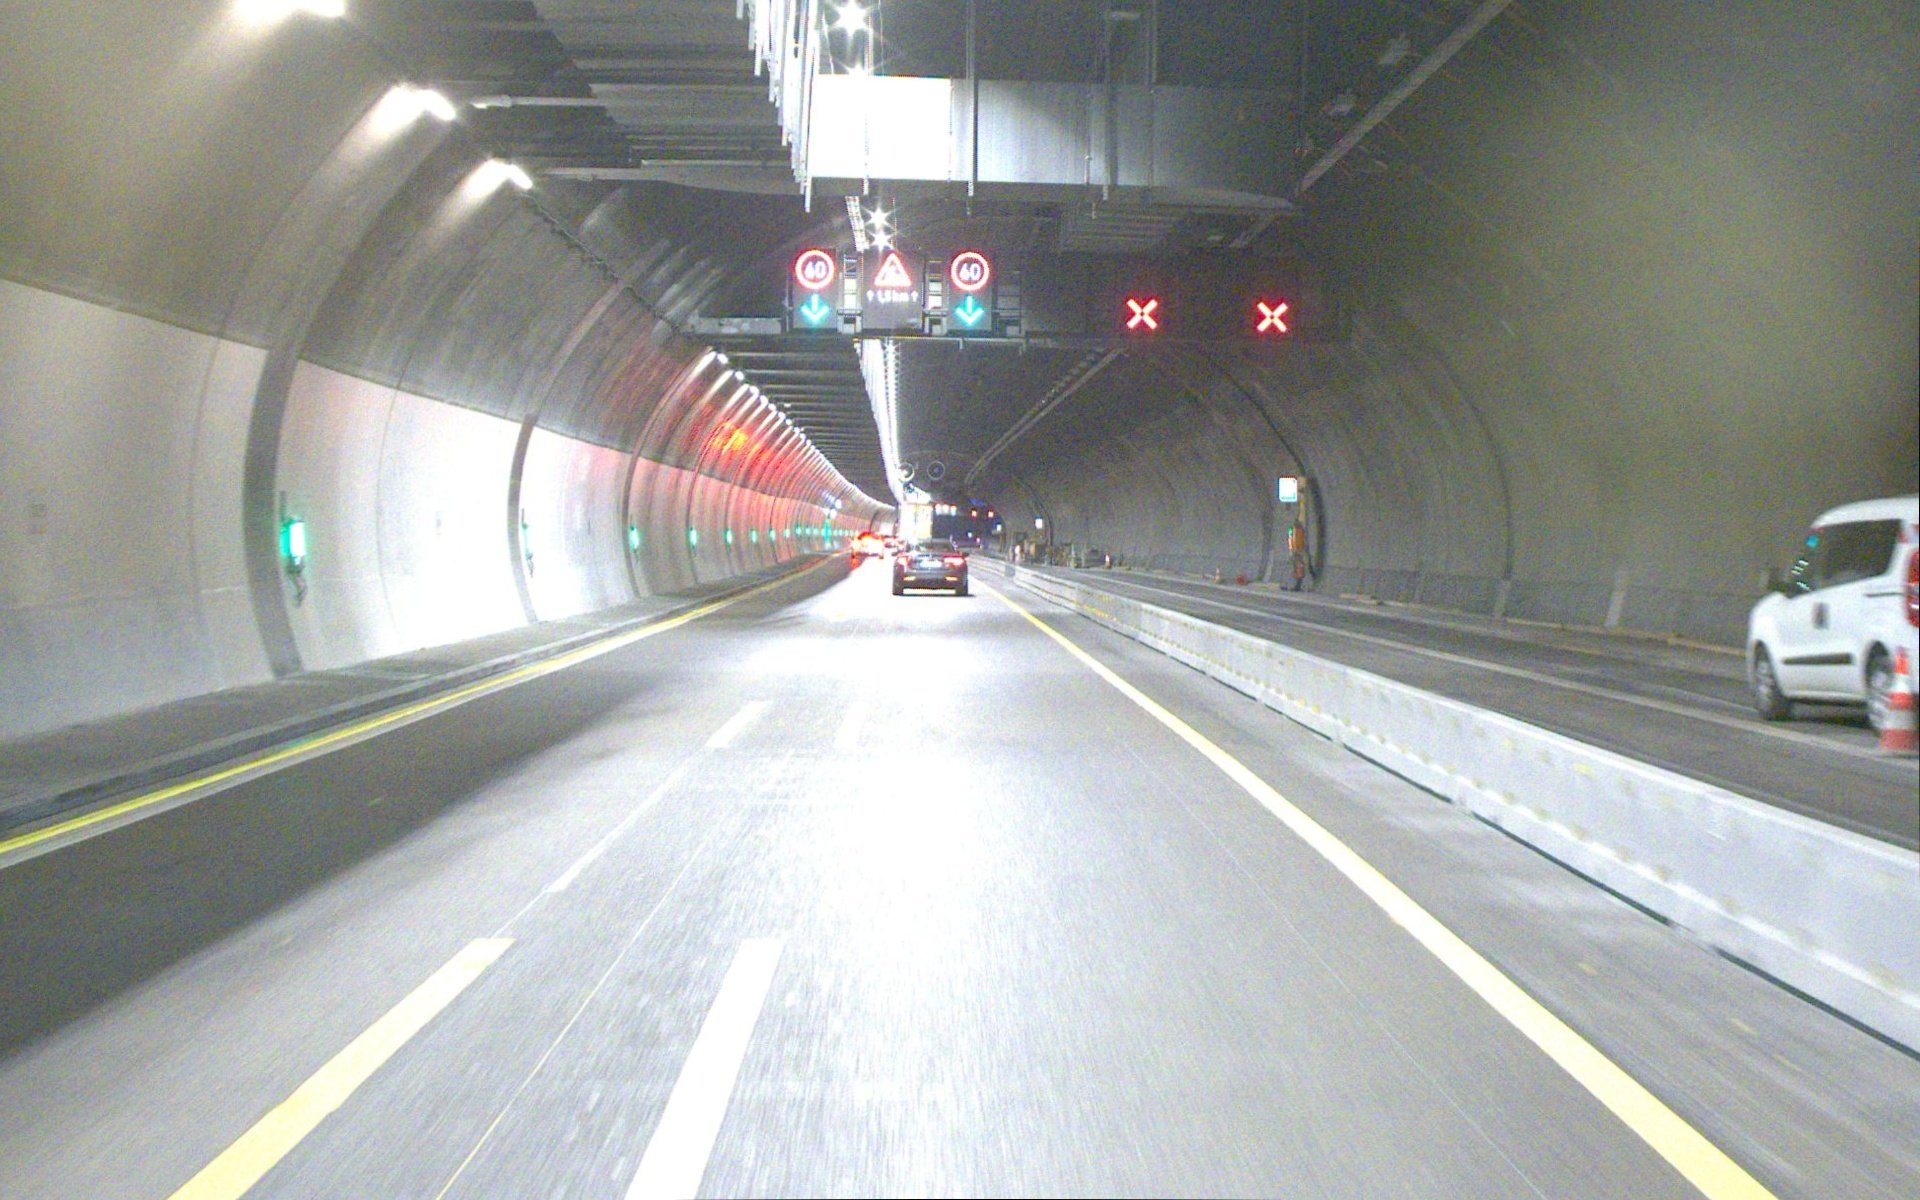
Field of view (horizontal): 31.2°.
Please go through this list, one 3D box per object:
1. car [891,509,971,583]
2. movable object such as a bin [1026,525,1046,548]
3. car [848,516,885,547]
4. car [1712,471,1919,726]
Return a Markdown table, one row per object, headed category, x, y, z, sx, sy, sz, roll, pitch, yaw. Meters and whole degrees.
| category | x | y | z | sx | sy | sz | roll | pitch | yaw |
| --- | --- | --- | --- | --- | --- | --- | --- | --- | --- |
| car | -0.729 | -1.375 | 85.897 | 1.947 | 1.788 | 4.000 | 0 | 1 | -1 |
| movable object such as a bin | 5.066 | -4.234 | 229.448 | 1.234 | 1.437 | 2.217 | 2 | 1 | -1 |
| car | -5.203 | -3.836 | 191.861 | 1.930 | 1.681 | 4.000 | 0 | 1 | 0 |
| car | 7.510 | -0.084 | 27.165 | 1.750 | 1.839 | 4.647 | -1 | 1 | -5 |
